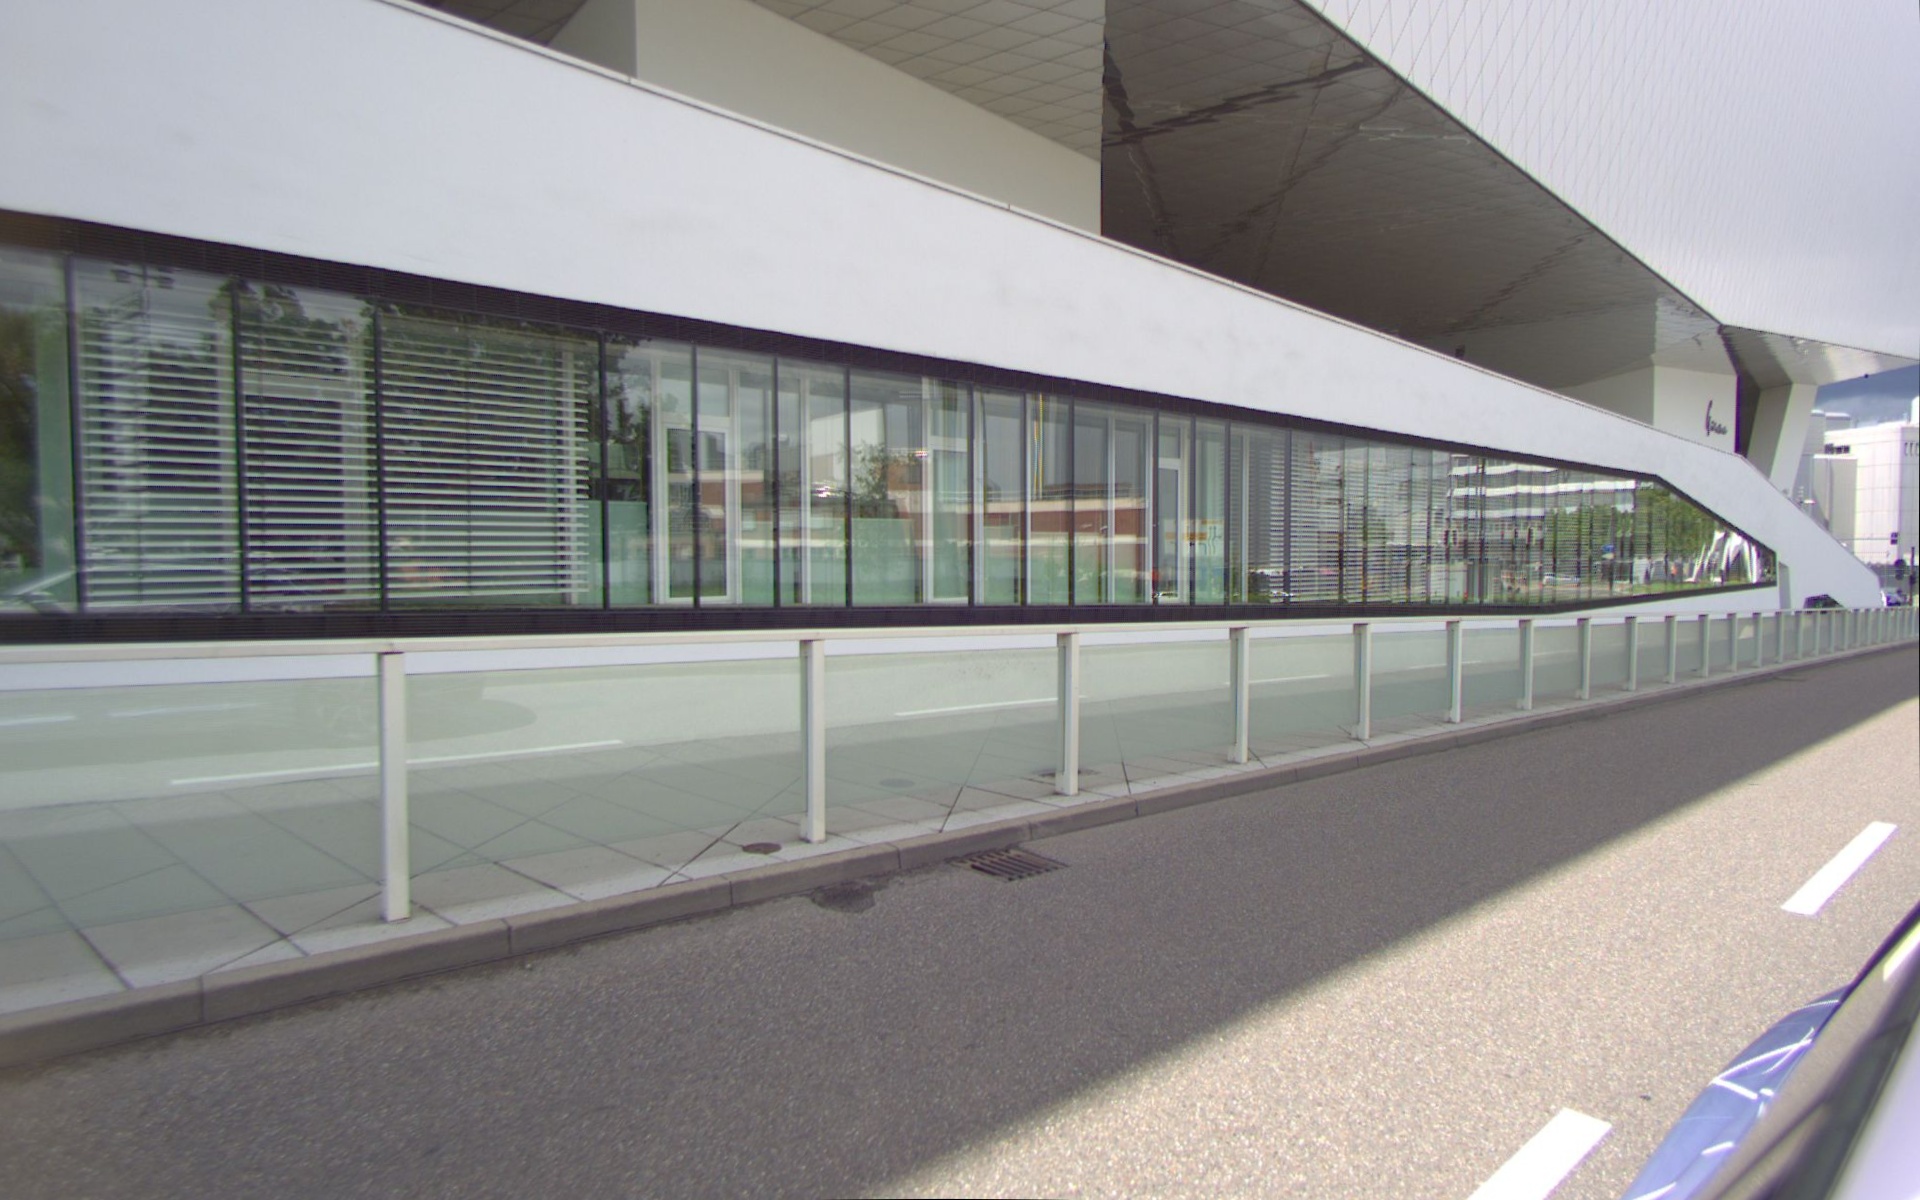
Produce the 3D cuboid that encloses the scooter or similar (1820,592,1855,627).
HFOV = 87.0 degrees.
[{"bbox_3d":[33.592,0.342,38.740,1.918,1.258,0.708,-1,2,-41],"label":"scooter or similar"}]

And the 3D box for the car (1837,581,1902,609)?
[{"bbox_3d":[68.442,-0.407,76.249,2.142,1.934,5.259,1,2,26],"label":"car"}]
